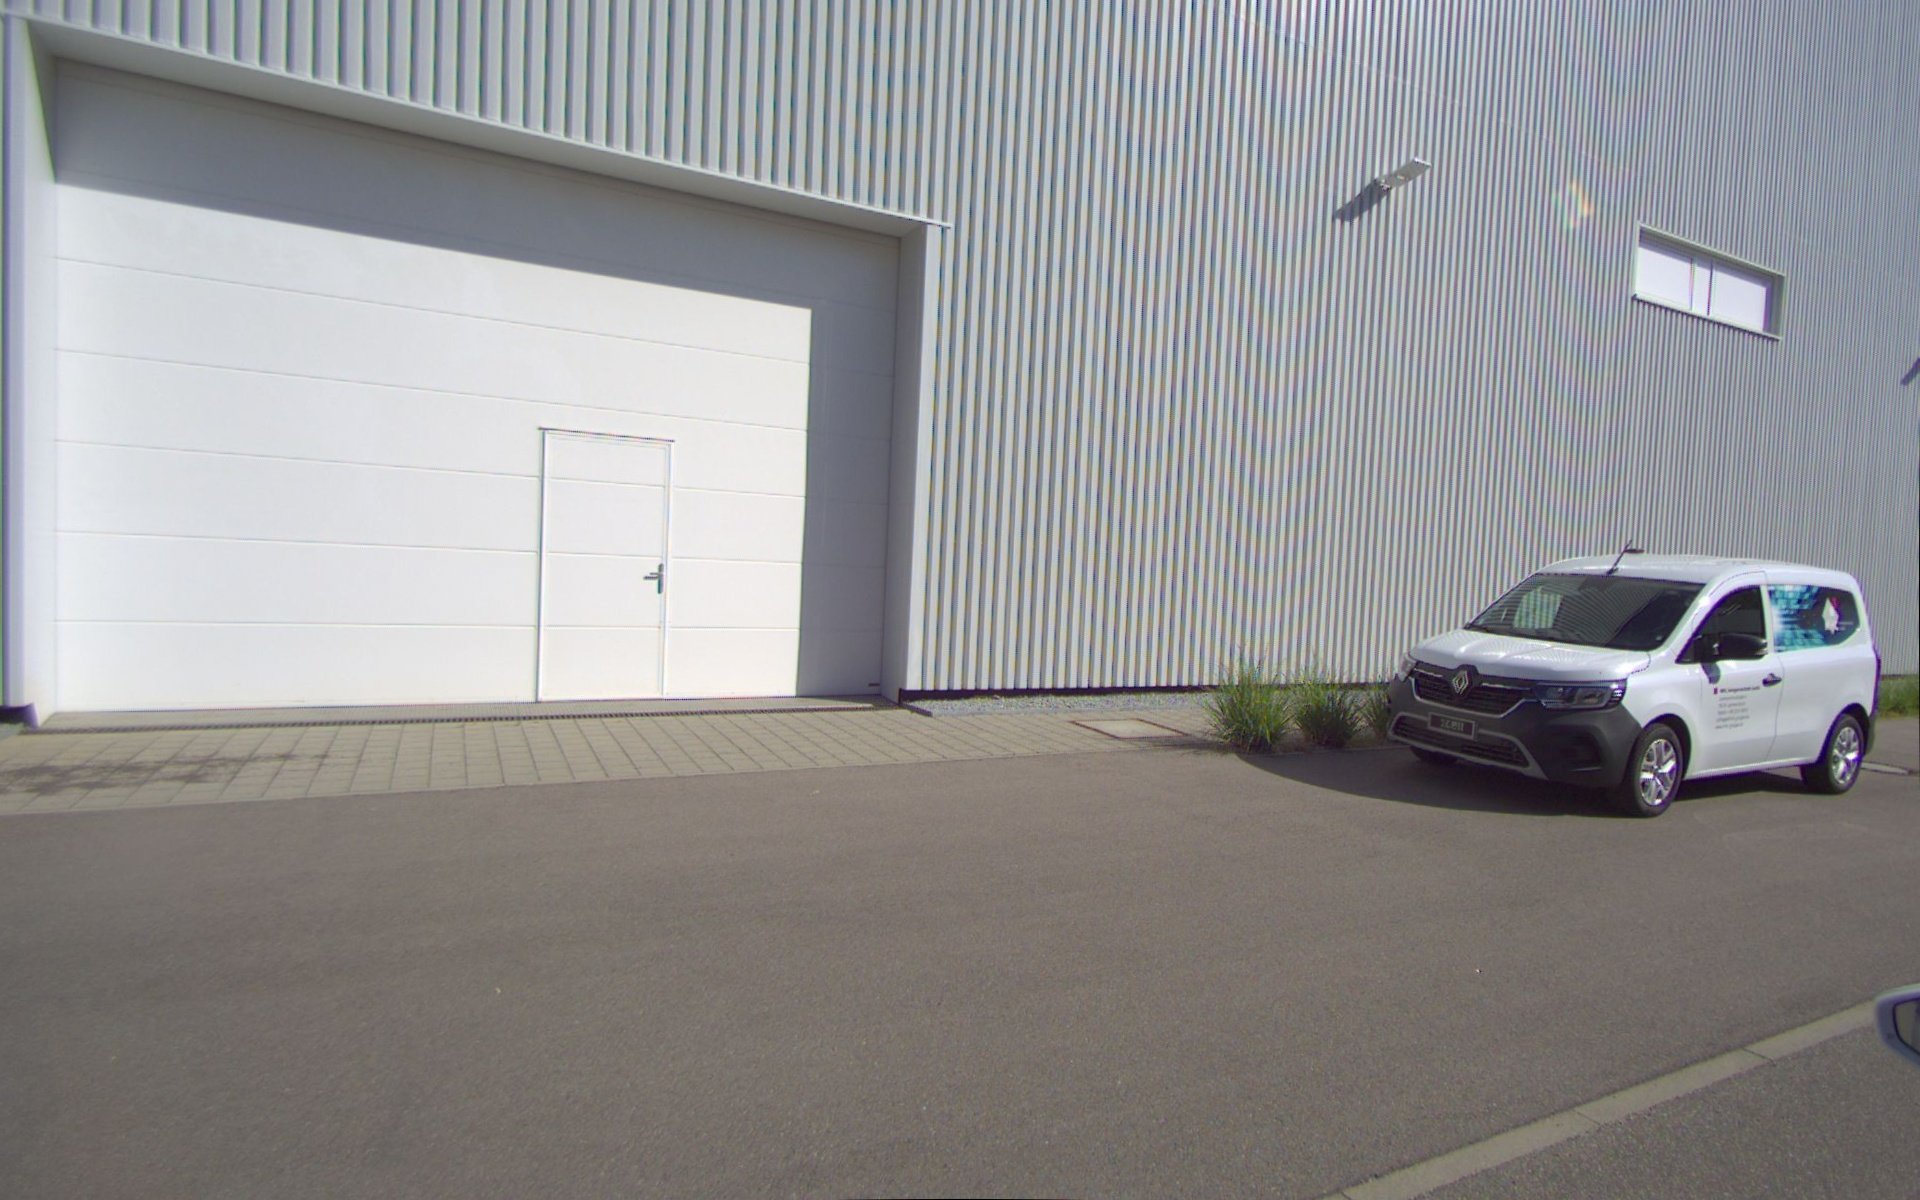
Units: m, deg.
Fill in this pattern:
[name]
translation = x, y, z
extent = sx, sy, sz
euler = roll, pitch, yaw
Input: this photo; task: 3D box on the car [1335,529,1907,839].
[car]
translation = 5.304, 0.515, 7.994
extent = 4.305, 1.870, 1.882
euler = 2, 4, -29
